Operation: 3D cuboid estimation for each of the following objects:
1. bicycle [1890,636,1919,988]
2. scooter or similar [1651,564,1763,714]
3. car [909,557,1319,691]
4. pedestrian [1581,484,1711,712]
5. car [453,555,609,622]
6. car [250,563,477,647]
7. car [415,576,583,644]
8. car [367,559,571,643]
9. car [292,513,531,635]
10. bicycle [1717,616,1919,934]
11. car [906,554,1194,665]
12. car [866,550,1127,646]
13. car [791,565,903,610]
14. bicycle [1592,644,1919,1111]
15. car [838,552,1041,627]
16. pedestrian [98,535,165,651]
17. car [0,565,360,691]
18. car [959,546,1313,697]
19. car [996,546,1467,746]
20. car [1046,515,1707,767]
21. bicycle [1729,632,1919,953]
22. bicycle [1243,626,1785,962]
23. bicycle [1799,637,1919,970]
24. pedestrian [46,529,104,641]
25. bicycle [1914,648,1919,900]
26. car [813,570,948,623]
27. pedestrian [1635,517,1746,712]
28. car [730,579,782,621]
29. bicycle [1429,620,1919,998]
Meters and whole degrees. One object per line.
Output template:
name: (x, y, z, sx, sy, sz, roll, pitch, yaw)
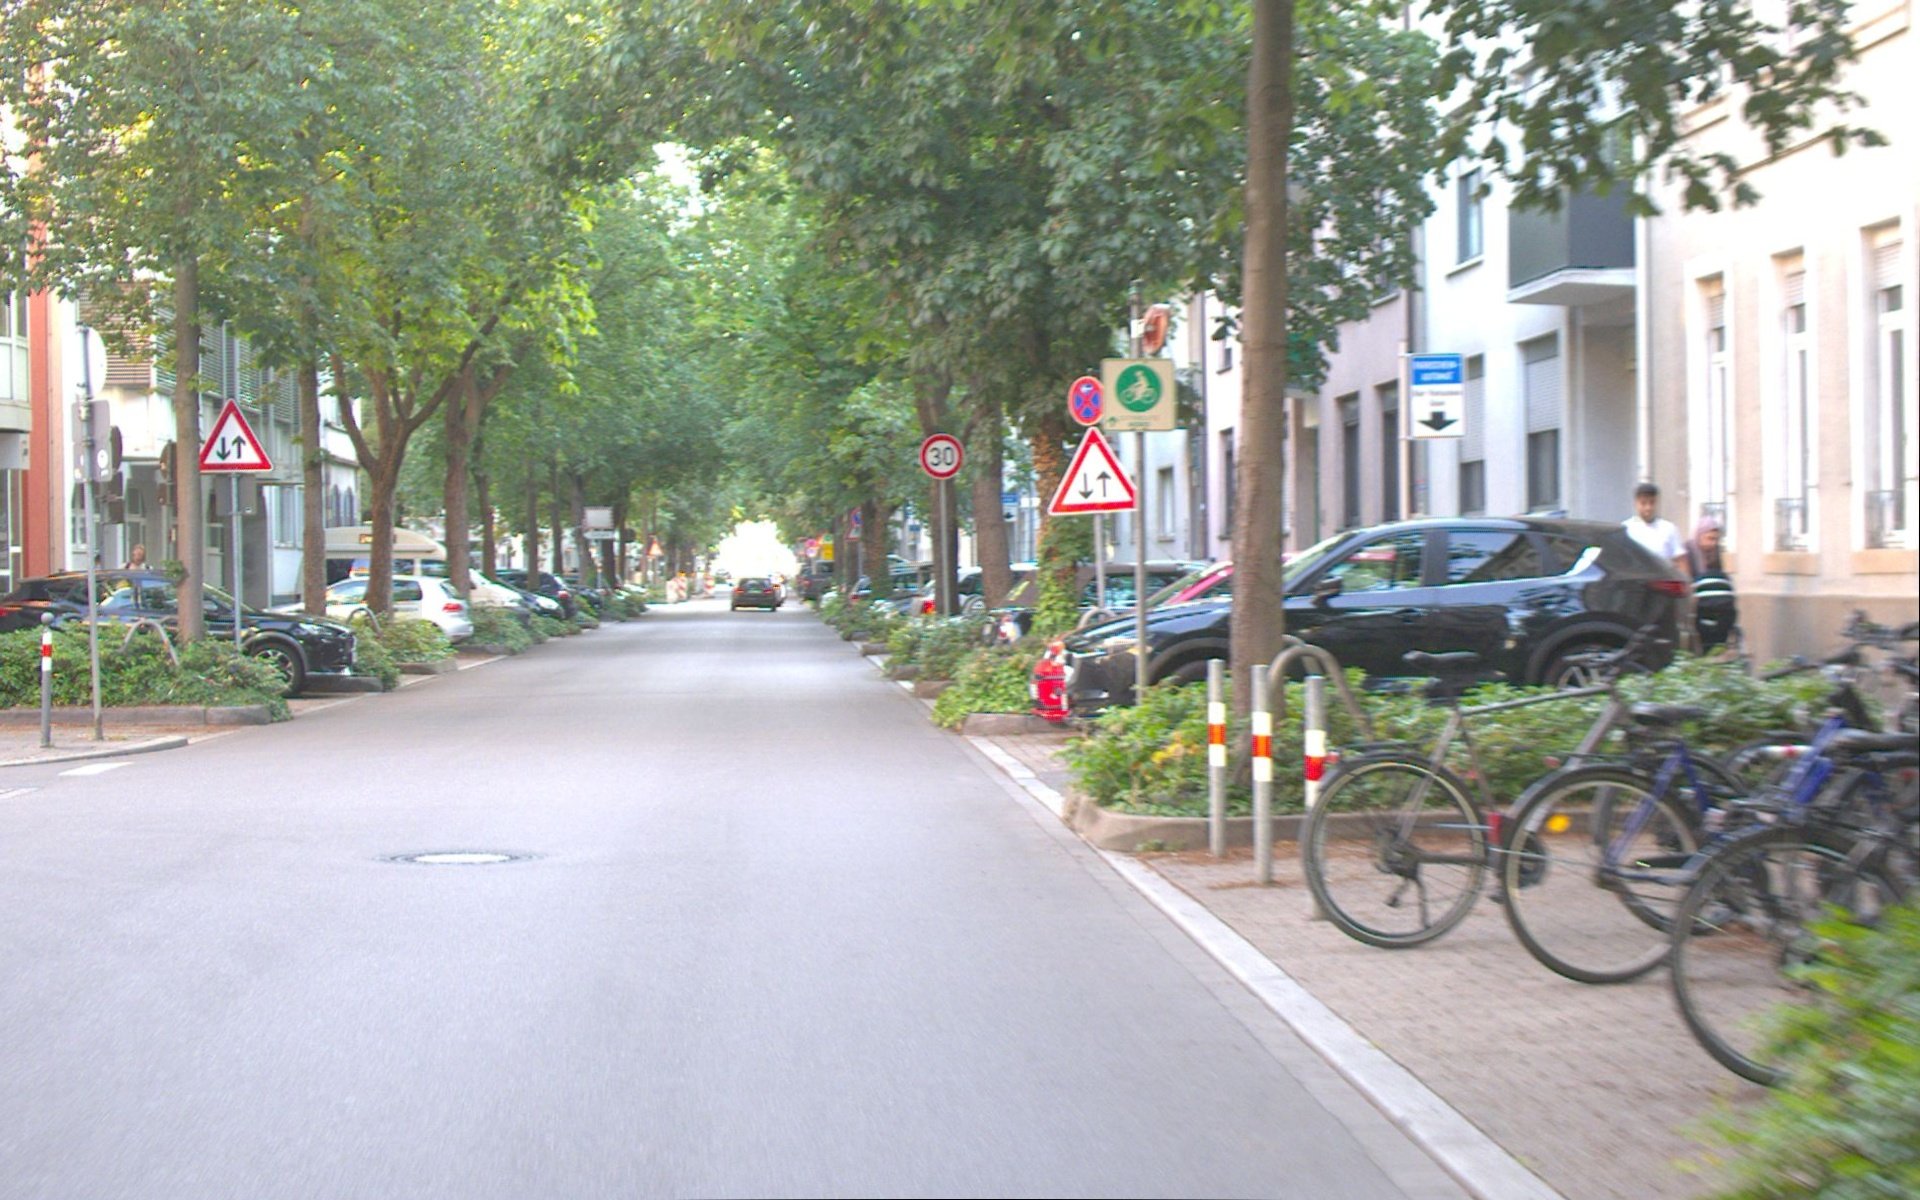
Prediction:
bicycle: (4.022, 0.666, 11.187, 1.794, 1.139, 0.651, -2, 1, -11)
scooter or similar: (5.918, 0.300, 27.255, 0.655, 1.149, 0.831, -1, 1, -2)
car: (1.801, 0.262, 41.348, 4.711, 1.416, 2.036, -2, 1, -3)
pedestrian: (5.327, -0.021, 26.705, 0.689, 1.731, 0.674, -2, 1, -34)
car: (-13.742, -0.373, 110.238, 4.762, 1.977, 1.963, -2, 0, -3)
car: (-10.852, 0.079, 62.711, 3.870, 1.481, 1.757, 0, 0, -1)
car: (-12.195, 0.256, 91.143, 4.202, 1.630, 1.963, -2, 0, -3)
car: (-11.887, 0.021, 83.423, 4.682, 1.848, 1.963, -2, 0, -3)
car: (-11.292, -0.537, 70.987, 4.682, 2.469, 2.000, 0, 0, -3)
bicycle: (3.908, 0.634, 13.240, 1.794, 1.139, 0.669, -2, 1, -12)
car: (1.258, 0.122, 49.157, 3.875, 1.435, 1.848, -2, 1, -6)
car: (0.636, -0.059, 63.096, 4.717, 1.704, 1.950, 0, 1, -1)
car: (-4.422, -0.492, 134.387, 4.268, 1.560, 1.963, -2, 0, -3)
bicycle: (2.728, 0.718, 9.394, 1.829, 1.174, 0.673, -2, 1, -4)
car: (-0.459, -0.244, 78.425, 4.508, 1.516, 1.995, -2, 0, 0)
pedestrian: (-12.632, -0.105, 52.414, 0.704, 1.751, 0.739, 0, 0, 21)
car: (-9.486, 0.323, 41.778, 4.126, 1.481, 1.929, 0, 0, -4)
car: (1.823, 0.205, 36.436, 3.483, 1.447, 1.900, -2, 1, -5)
car: (2.141, 0.339, 27.800, 3.483, 1.447, 1.900, -2, 1, -5)
car: (2.893, 0.263, 24.578, 4.425, 1.650, 1.900, -1, 1, -1)
bicycle: (3.772, 0.667, 12.547, 1.794, 1.104, 0.500, -2, 1, -8)
bicycle: (2.067, 0.701, 12.898, 1.837, 1.132, 0.745, -2, 1, -13)
bicycle: (3.904, 0.671, 12.033, 1.794, 1.104, 0.500, -2, 1, -8)
pedestrian: (-13.832, -0.236, 53.739, 0.703, 1.722, 0.905, 0, 0, -3)
bicycle: (3.879, 0.686, 10.361, 1.794, 1.124, 0.664, -2, 1, -9)
car: (-2.607, -0.117, 111.494, 4.268, 1.560, 1.963, -2, 0, -3)
pedestrian: (5.890, 0.111, 27.749, 0.655, 1.531, 0.831, -1, 1, -2)
car: (-7.967, 0.000, 134.577, 1.956, 1.560, 4.283, -2, 0, -3)
bicycle: (2.562, 0.684, 11.592, 1.829, 1.174, 0.601, -2, 1, -4)
